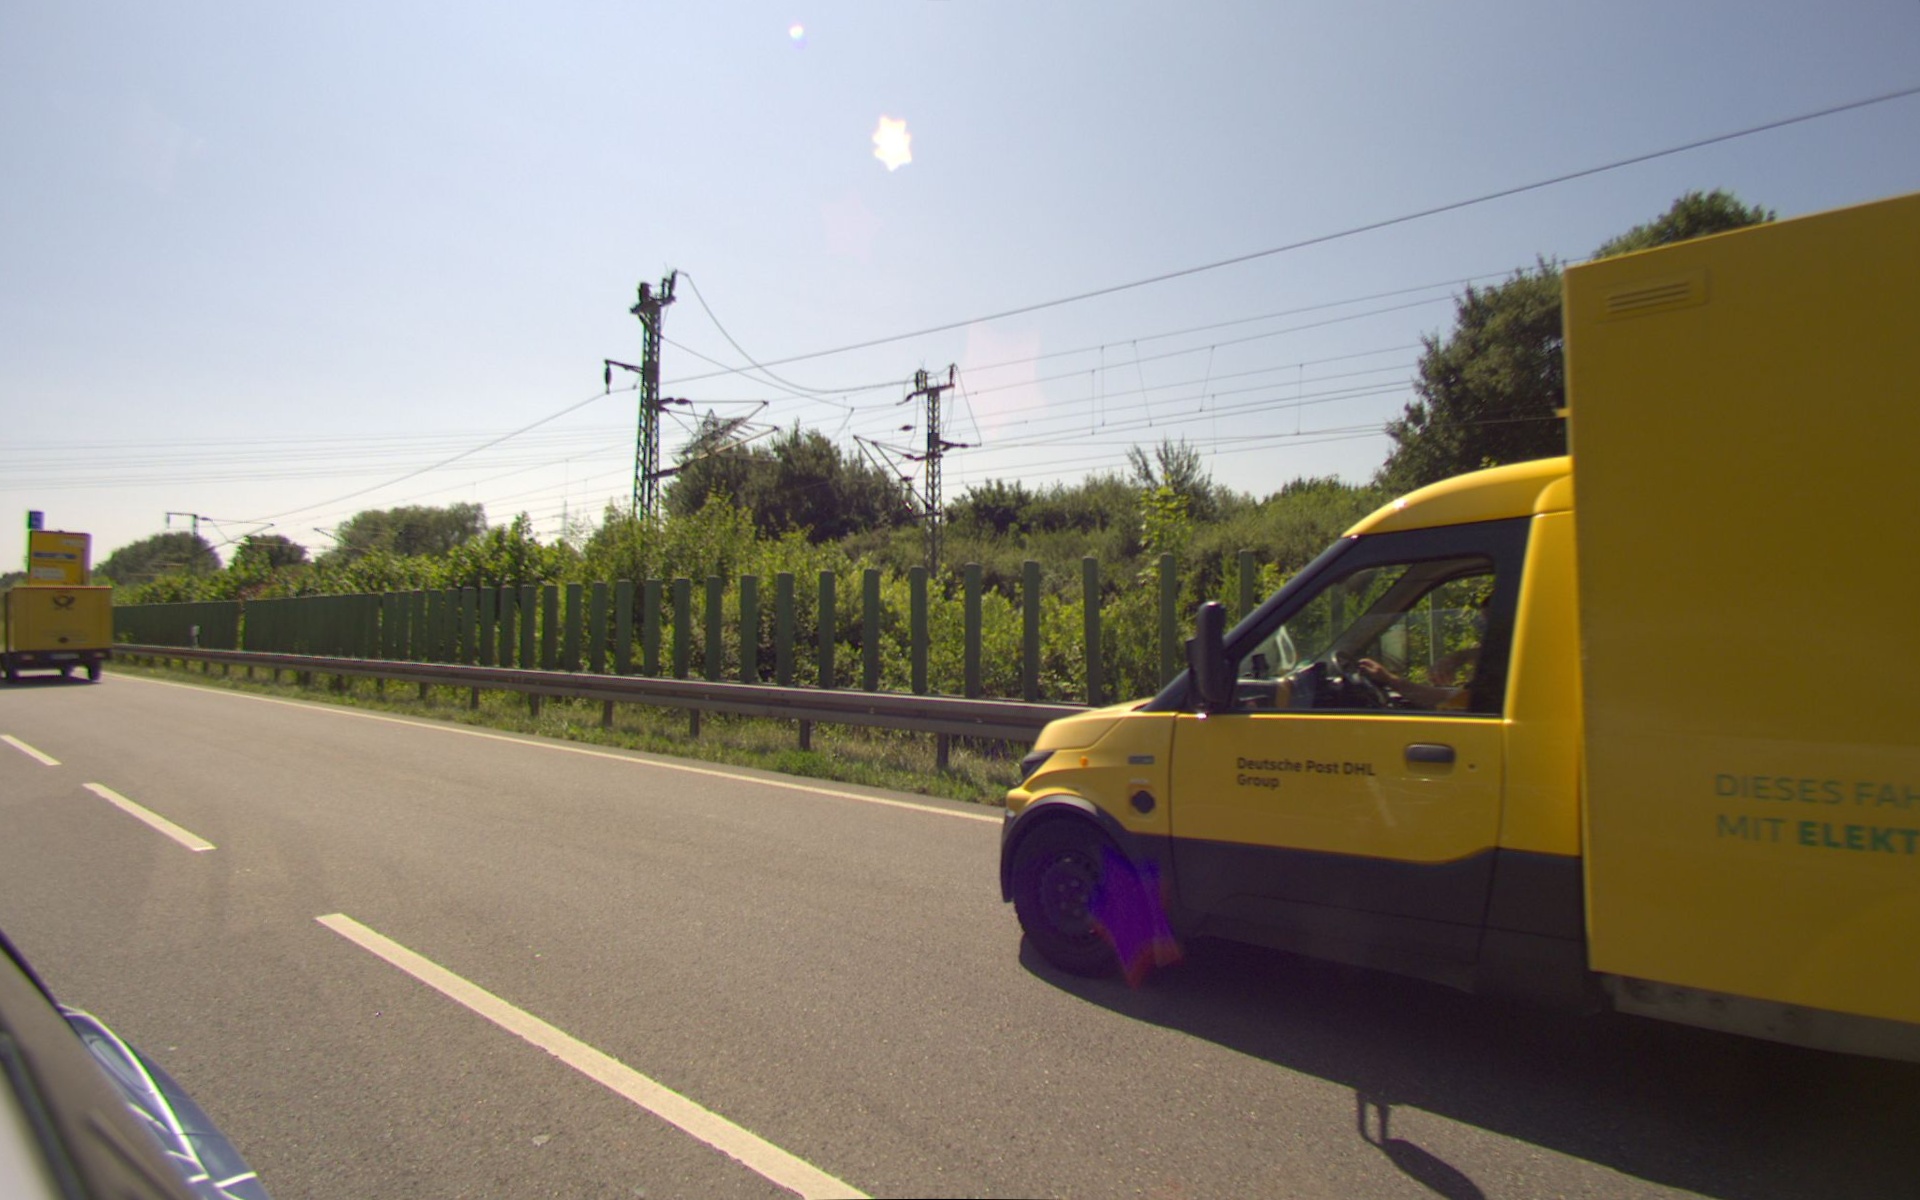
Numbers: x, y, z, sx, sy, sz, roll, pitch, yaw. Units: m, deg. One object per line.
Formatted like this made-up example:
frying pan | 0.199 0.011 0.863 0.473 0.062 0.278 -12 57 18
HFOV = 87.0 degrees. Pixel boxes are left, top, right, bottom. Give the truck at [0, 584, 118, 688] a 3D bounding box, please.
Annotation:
truck | -23.331 0.878 25.790 6.009 2.366 1.973 -1 -1 41

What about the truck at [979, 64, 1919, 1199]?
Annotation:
truck | 2.917 0.105 3.054 5.700 2.666 2.059 -1 -1 40
